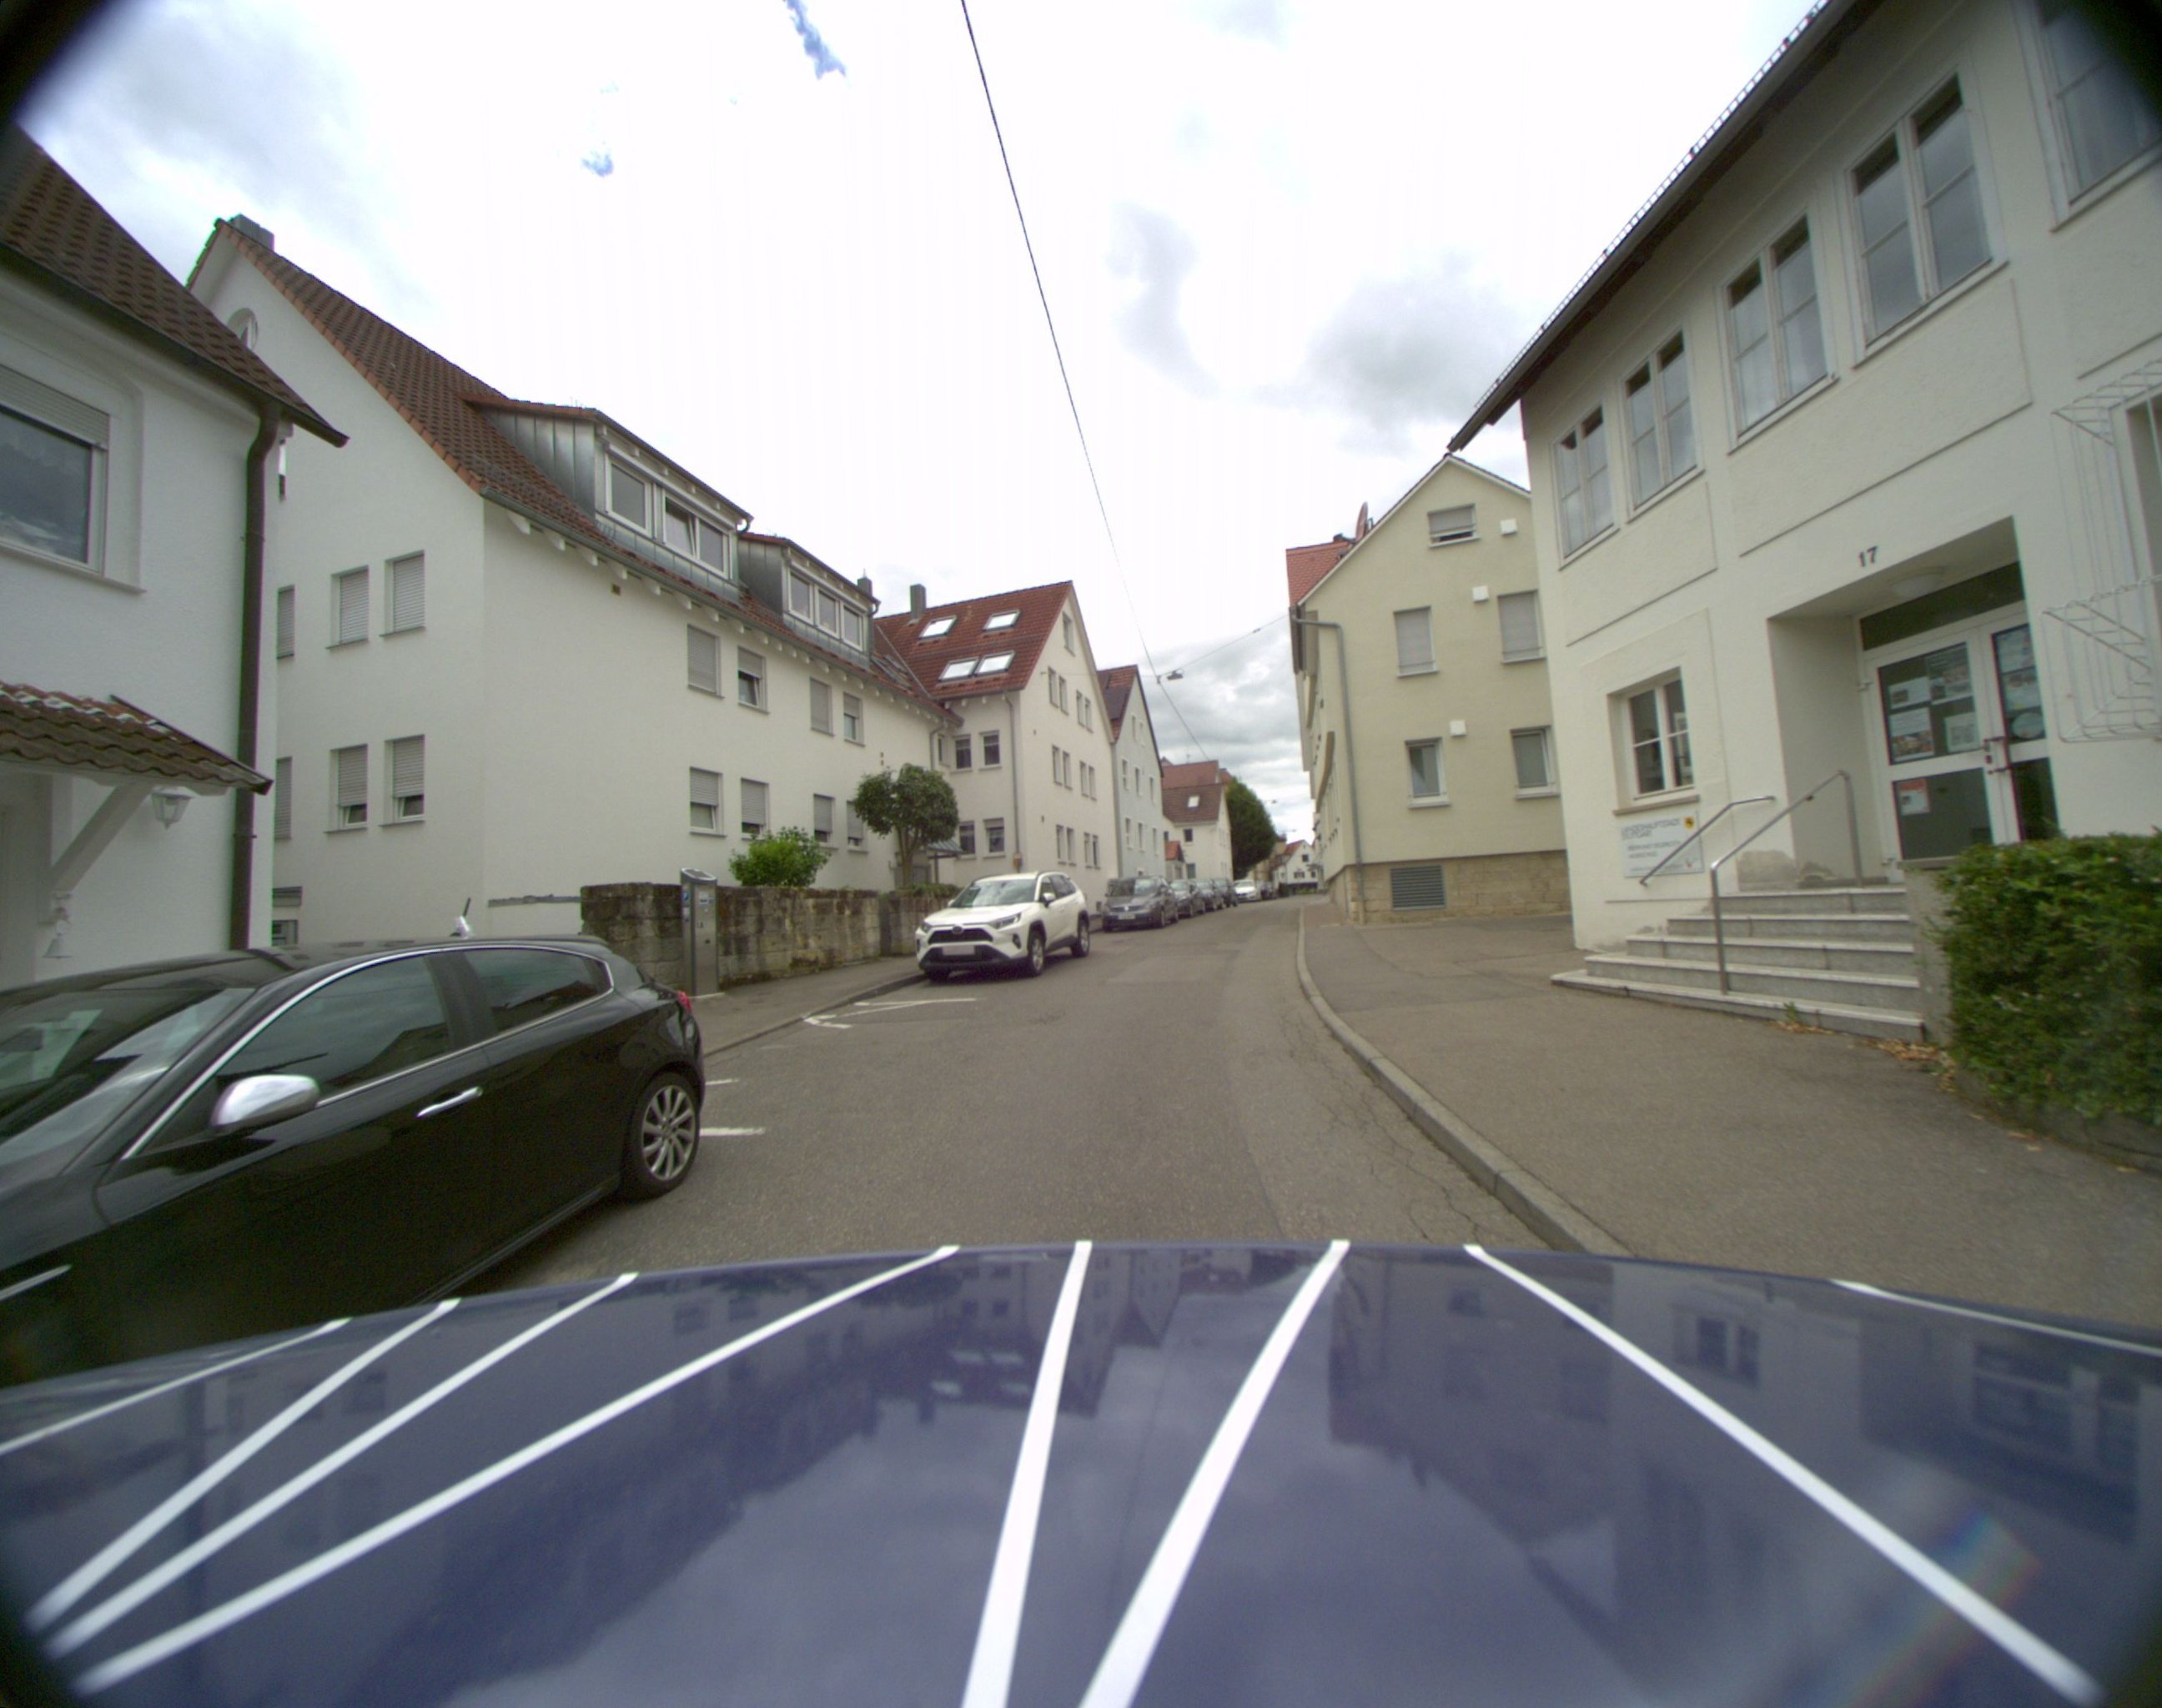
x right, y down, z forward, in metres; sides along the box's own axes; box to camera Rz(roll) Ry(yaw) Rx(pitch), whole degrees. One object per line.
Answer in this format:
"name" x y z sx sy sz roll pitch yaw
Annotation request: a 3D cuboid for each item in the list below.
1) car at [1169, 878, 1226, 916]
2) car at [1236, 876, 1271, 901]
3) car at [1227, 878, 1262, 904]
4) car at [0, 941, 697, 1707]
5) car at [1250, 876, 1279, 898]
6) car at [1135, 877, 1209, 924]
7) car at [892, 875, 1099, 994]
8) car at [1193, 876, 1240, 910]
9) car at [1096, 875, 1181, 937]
"car" 5.121 1.832 32.992 1.728 1.433 4.272 -6 -4 17
"car" 12.620 2.501 55.408 1.768 1.609 4.290 -6 -4 20
"car" 10.875 2.440 50.269 1.769 1.552 4.047 -6 -4 17
"car" -3.107 1.203 2.233 1.722 1.398 4.004 -4 -1 2
"car" 15.041 2.697 62.284 1.769 1.583 4.047 -6 -3 19
"car" 3.460 1.664 28.132 1.810 1.434 3.965 -6 -3 19
"car" -1.242 1.259 13.321 1.949 1.629 4.467 -6 -3 15
"car" 6.763 1.922 37.658 1.641 1.502 3.847 -5 -4 18
"car" 1.836 1.514 22.981 1.738 1.554 3.914 -6 -3 15
